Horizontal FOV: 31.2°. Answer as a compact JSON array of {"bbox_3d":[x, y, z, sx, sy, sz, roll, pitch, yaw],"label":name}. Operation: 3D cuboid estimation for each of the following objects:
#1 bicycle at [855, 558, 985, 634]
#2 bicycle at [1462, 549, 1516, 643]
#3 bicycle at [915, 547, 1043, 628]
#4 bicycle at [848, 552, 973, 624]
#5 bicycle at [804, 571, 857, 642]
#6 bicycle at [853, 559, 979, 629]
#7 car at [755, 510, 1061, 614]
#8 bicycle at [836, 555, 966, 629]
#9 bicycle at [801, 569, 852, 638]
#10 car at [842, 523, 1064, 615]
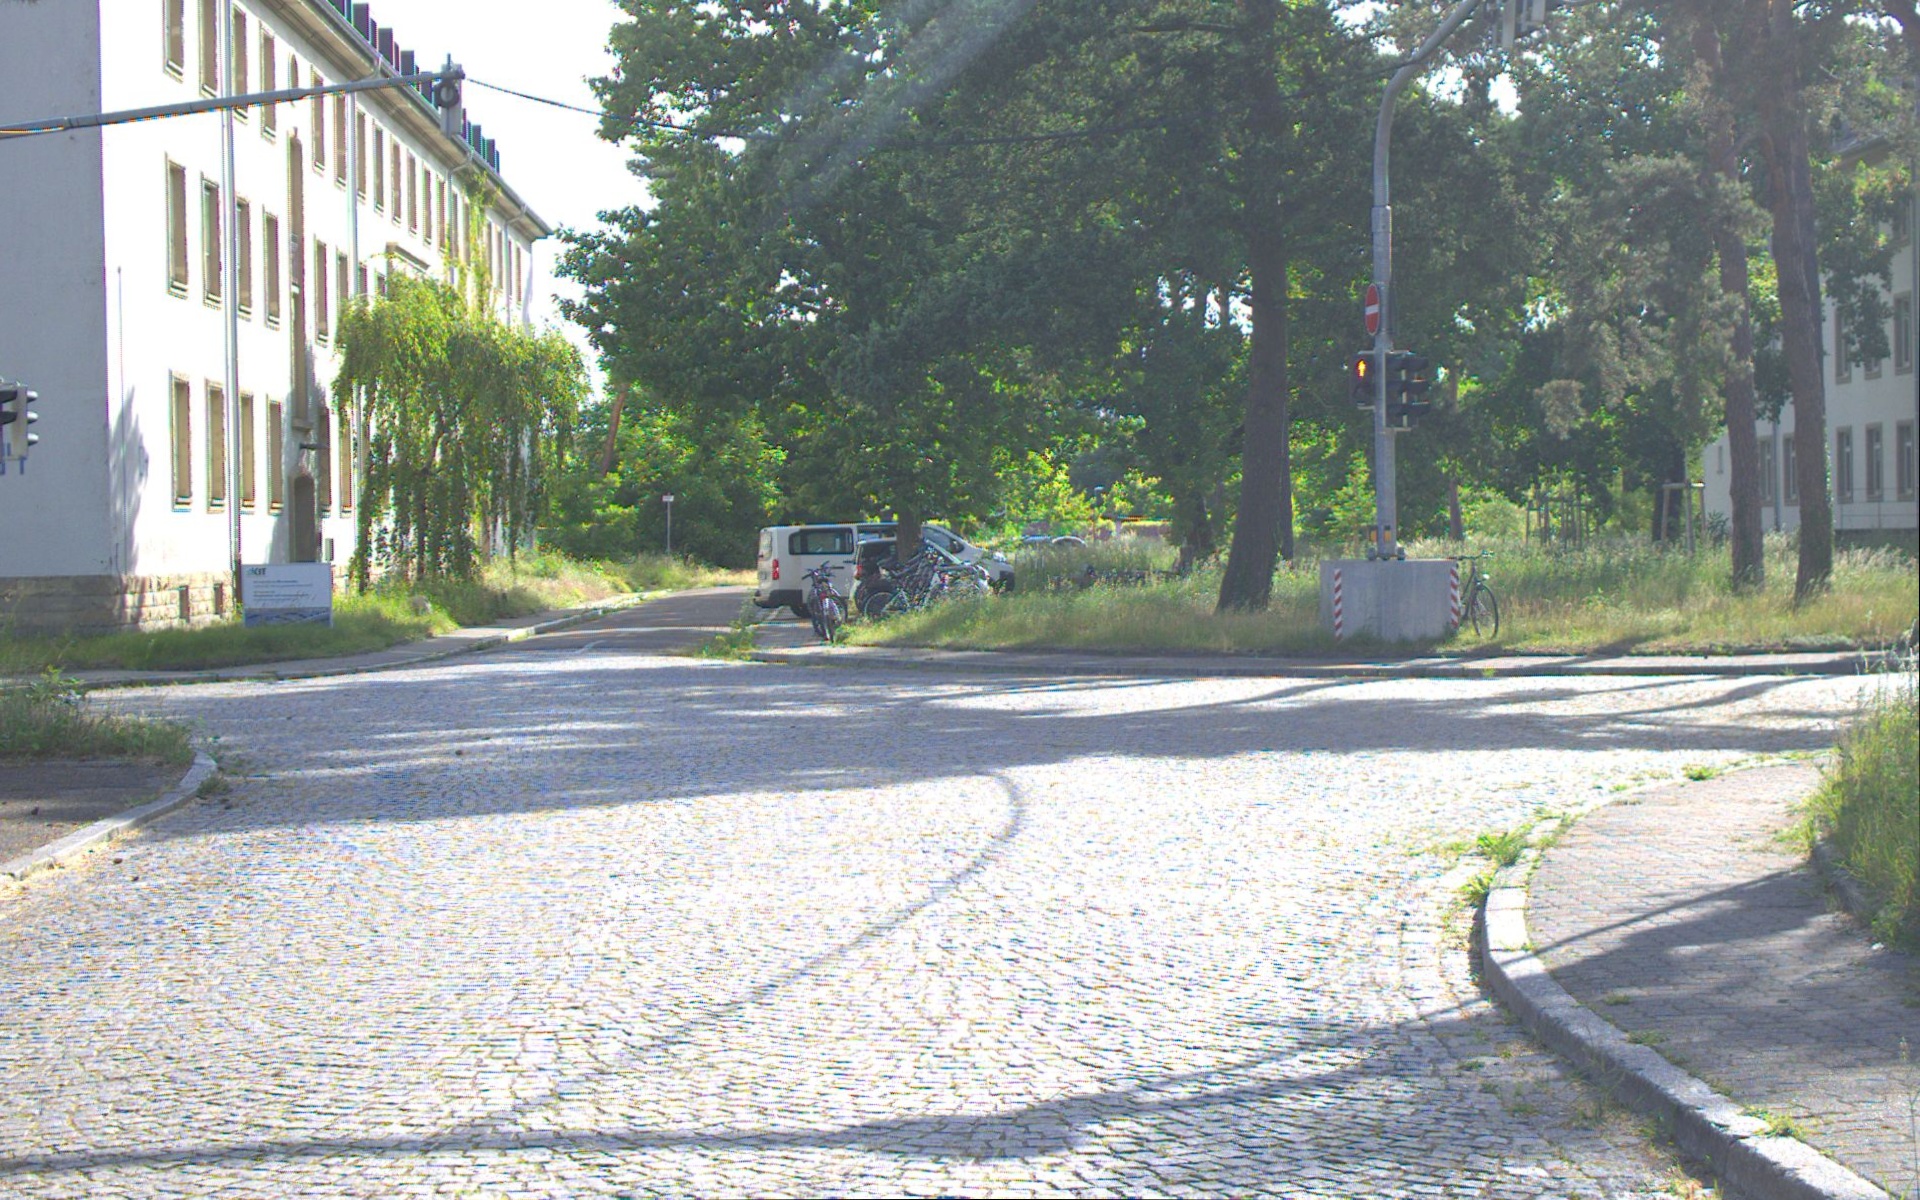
[{"bbox_3d":[-0.625,-0.068,52.866,1.940,1.125,0.750,-1,1,-4],"label":"bicycle"},{"bbox_3d":[6.160,-0.051,40.060,0.466,1.076,1.173,-1,0,2],"label":"bicycle"},{"bbox_3d":[0.295,-0.204,53.585,1.940,1.231,0.485,-1,1,-4],"label":"bicycle"},{"bbox_3d":[-0.795,-0.197,55.189,1.940,1.125,0.648,-1,1,-6],"label":"bicycle"},{"bbox_3d":[-1.838,0.085,48.552,0.695,0.968,1.861,0,1,-4],"label":"bicycle"},{"bbox_3d":[-0.672,-0.097,52.067,1.854,1.027,0.750,-1,1,-4],"label":"bicycle"},{"bbox_3d":[-1.092,-0.786,70.011,5.929,2.007,2.476,-1,1,-8],"label":"car"},{"bbox_3d":[-0.927,-0.132,54.076,1.940,1.125,0.648,-1,1,-28],"label":"bicycle"},{"bbox_3d":[-1.964,0.044,50.497,0.695,0.968,1.861,0,1,-4],"label":"bicycle"},{"bbox_3d":[-0.148,-0.605,65.828,3.986,1.678,1.848,-1,1,-9],"label":"car"}]
